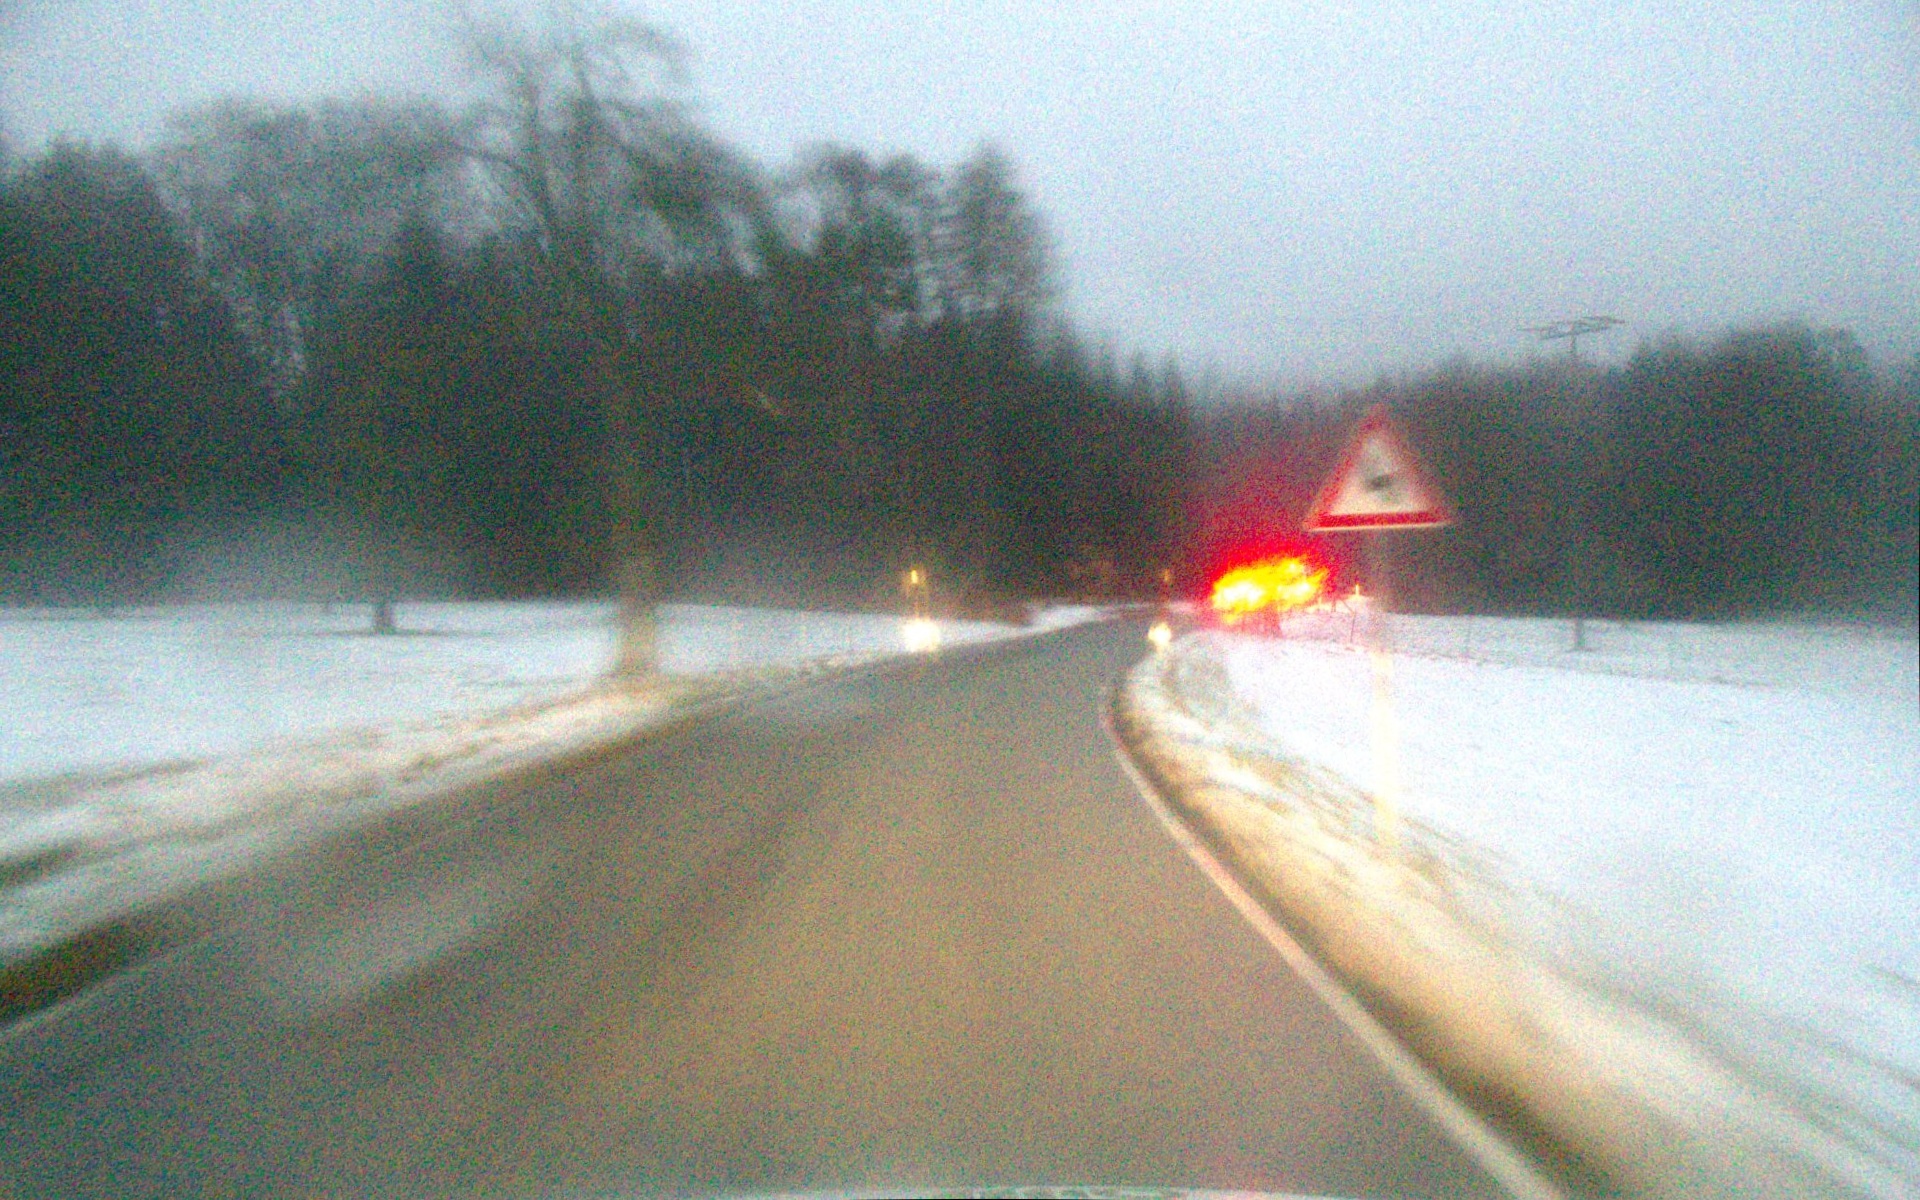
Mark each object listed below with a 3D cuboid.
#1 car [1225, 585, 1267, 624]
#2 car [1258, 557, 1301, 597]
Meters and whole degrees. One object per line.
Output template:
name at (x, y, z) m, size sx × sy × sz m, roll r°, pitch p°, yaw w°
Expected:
car at (16.183, 0.212, 93.564) m, size 1.951 × 2.087 × 4.003 m, roll 1°, pitch 1°, yaw 15°
car at (22.385, -1.621, 115.737) m, size 2.205 × 2.691 × 5.007 m, roll 0°, pitch 1°, yaw 20°
